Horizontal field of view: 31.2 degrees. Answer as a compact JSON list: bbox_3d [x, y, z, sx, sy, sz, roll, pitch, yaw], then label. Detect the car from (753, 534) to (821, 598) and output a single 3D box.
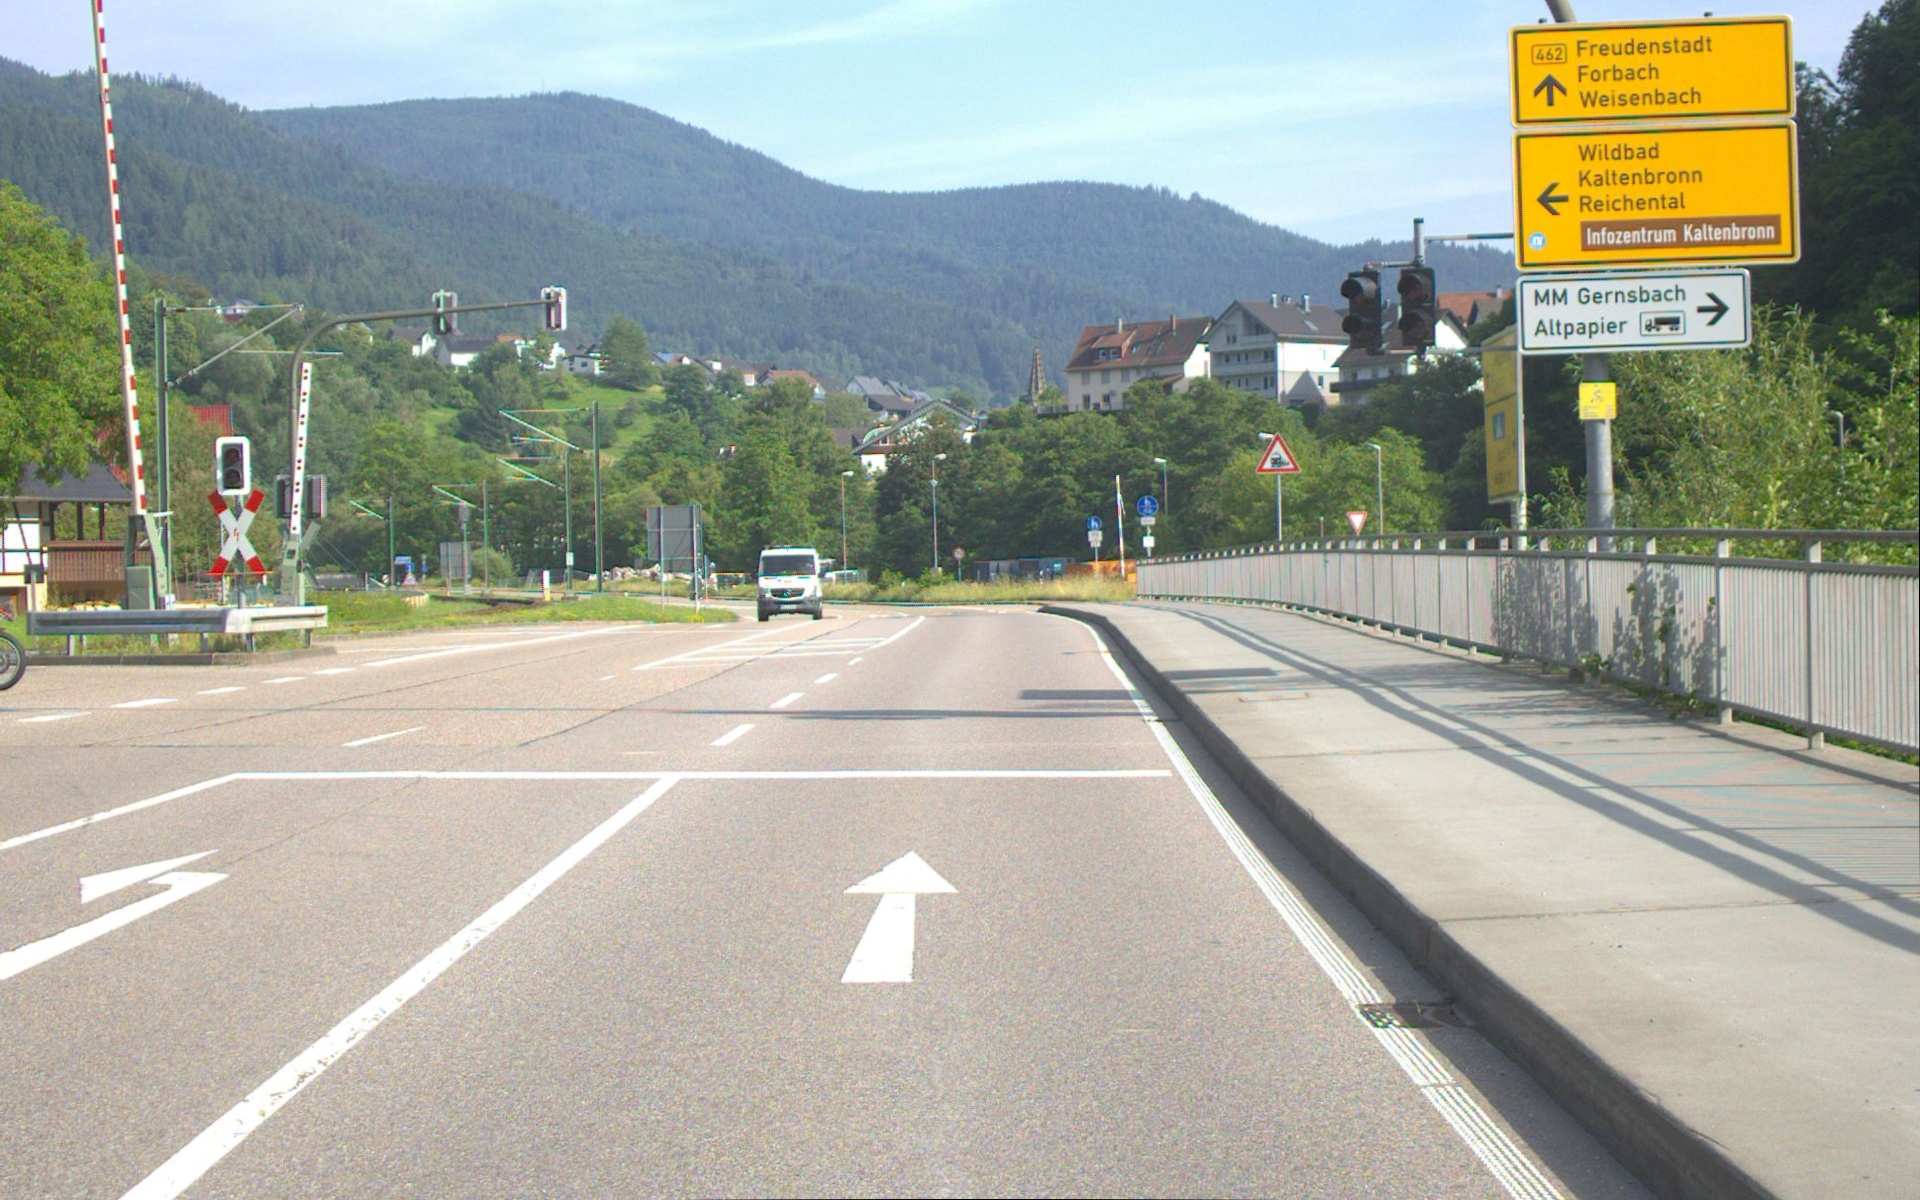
[{"bbox_3d":[-5.486,-1.078,109.441,1.993,2.007,4.557,0,1,-1],"label":"car"}]
